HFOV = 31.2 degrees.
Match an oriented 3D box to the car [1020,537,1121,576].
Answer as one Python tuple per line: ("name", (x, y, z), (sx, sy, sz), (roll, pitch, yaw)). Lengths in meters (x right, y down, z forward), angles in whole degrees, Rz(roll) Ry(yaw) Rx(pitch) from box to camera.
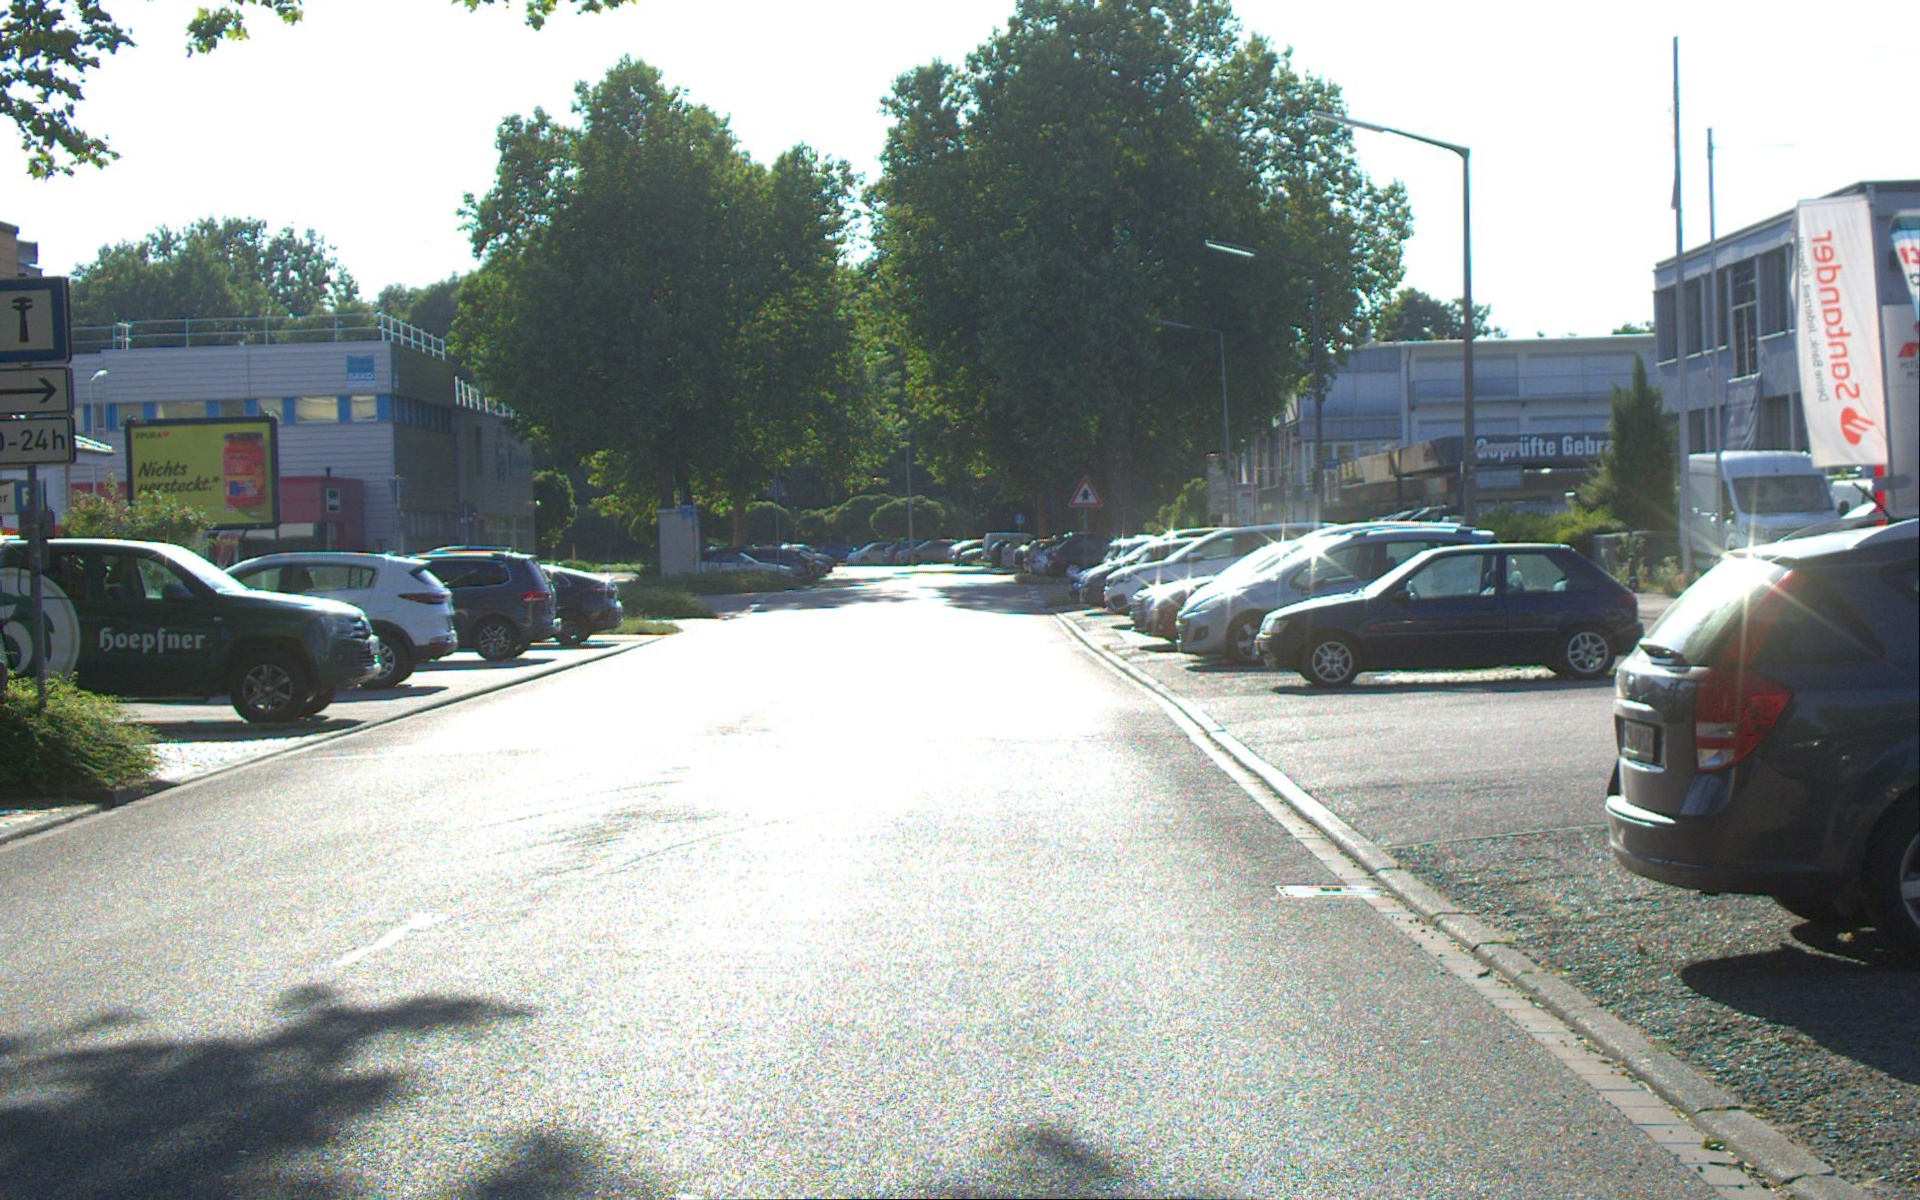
("car", (4.455, -1.758, 138.726), (3.987, 1.411, 1.827), (-2, 1, 0))

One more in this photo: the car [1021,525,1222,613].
("car", (3.407, -0.655, 72.191), (3.988, 1.608, 1.999), (-3, 0, 8))

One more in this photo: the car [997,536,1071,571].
("car", (4.051, -2.557, 188.752), (3.987, 1.771, 1.827), (-2, 1, 0))

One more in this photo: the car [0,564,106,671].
("car", (-16.548, 0.277, 55.729), (4.943, 1.683, 2.000), (0, 1, -2))

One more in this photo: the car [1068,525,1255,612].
("car", (4.540, -0.714, 77.803), (3.987, 1.646, 1.743), (-4, 1, -2))

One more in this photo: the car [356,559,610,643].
("car", (-8.505, 0.002, 61.619), (4.313, 1.455, 2.202), (0, 0, -2))

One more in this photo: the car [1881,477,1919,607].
("car", (14.514, -0.876, 45.564), (3.987, 1.691, 2.000), (-3, 1, 1))

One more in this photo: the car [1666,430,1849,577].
("car", (14.867, -1.752, 64.452), (1.993, 2.616, 6.137), (0, 1, 0))

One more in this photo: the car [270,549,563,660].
("car", (-8.319, 0.056, 52.987), (4.230, 1.650, 2.202), (0, 0, -2))

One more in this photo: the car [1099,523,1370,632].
("car", (4.942, -0.405, 62.371), (4.554, 1.592, 2.202), (-4, 1, -2))

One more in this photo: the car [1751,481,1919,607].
("car", (14.331, -0.900, 52.081), (4.144, 1.765, 2.000), (-3, 1, 1))

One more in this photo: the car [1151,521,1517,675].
("car", (4.394, -0.037, 40.821), (3.986, 1.582, 1.868), (-3, 1, -3))

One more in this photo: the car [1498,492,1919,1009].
("car", (4.427, 0.343, 12.224), (4.601, 1.607, 2.000), (-5, 0, 0))

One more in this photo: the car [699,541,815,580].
("car", (-8.002, -1.579, 135.816), (4.415, 1.511, 2.000), (0, 1, 2))

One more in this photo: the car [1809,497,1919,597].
("car", (17.324, -0.985, 64.137), (1.993, 1.793, 4.000), (0, 1, 0))

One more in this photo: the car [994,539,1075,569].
("car", (3.745, -2.319, 173.327), (3.987, 1.411, 1.827), (-2, 1, 0))

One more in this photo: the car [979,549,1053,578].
("car", (3.025, -1.988, 186.316), (3.987, 1.411, 1.827), (-2, 1, 0))

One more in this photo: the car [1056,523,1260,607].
("car", (4.635, -0.819, 80.933), (4.523, 1.667, 1.753), (-4, 1, -3))

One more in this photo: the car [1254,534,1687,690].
("car", (4.944, 0.102, 33.706), (3.987, 1.292, 1.784), (-3, 1, 3))

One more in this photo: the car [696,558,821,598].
("car", (-7.237, -0.790, 123.016), (4.415, 1.398, 2.000), (0, 1, -5))

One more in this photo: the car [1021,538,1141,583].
("car", (4.137, -1.360, 117.849), (3.987, 1.411, 1.827), (-2, 1, 0))

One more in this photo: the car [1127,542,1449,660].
("car", (4.589, 0.002, 48.369), (4.241, 1.599, 1.746), (0, 1, -6))

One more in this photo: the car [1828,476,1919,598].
("car", (14.662, -0.982, 49.048), (3.987, 1.654, 2.000), (-3, 1, 1))

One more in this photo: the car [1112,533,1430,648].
("car", (4.565, -0.154, 50.932), (4.437, 1.431, 2.135), (-3, 1, 0))

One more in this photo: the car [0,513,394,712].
("car", (-8.419, 0.115, 34.043), (5.259, 1.892, 2.202), (0, 0, 0))

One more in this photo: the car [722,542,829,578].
("car", (-7.853, -1.719, 146.549), (4.415, 1.511, 2.000), (0, 1, 2))

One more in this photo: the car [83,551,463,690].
("car", (-8.400, 0.234, 42.386), (4.302, 1.650, 2.202), (0, 0, -2))

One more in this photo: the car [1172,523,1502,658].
("car", (4.989, -0.136, 45.840), (4.108, 1.734, 1.884), (0, 1, -3))

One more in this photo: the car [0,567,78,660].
("car", (-17.189, 0.223, 58.183), (3.987, 1.550, 2.000), (0, 1, 0))

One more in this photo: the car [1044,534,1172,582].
("car", (4.746, -1.352, 110.501), (3.987, 1.411, 2.000), (-2, 1, 0))
